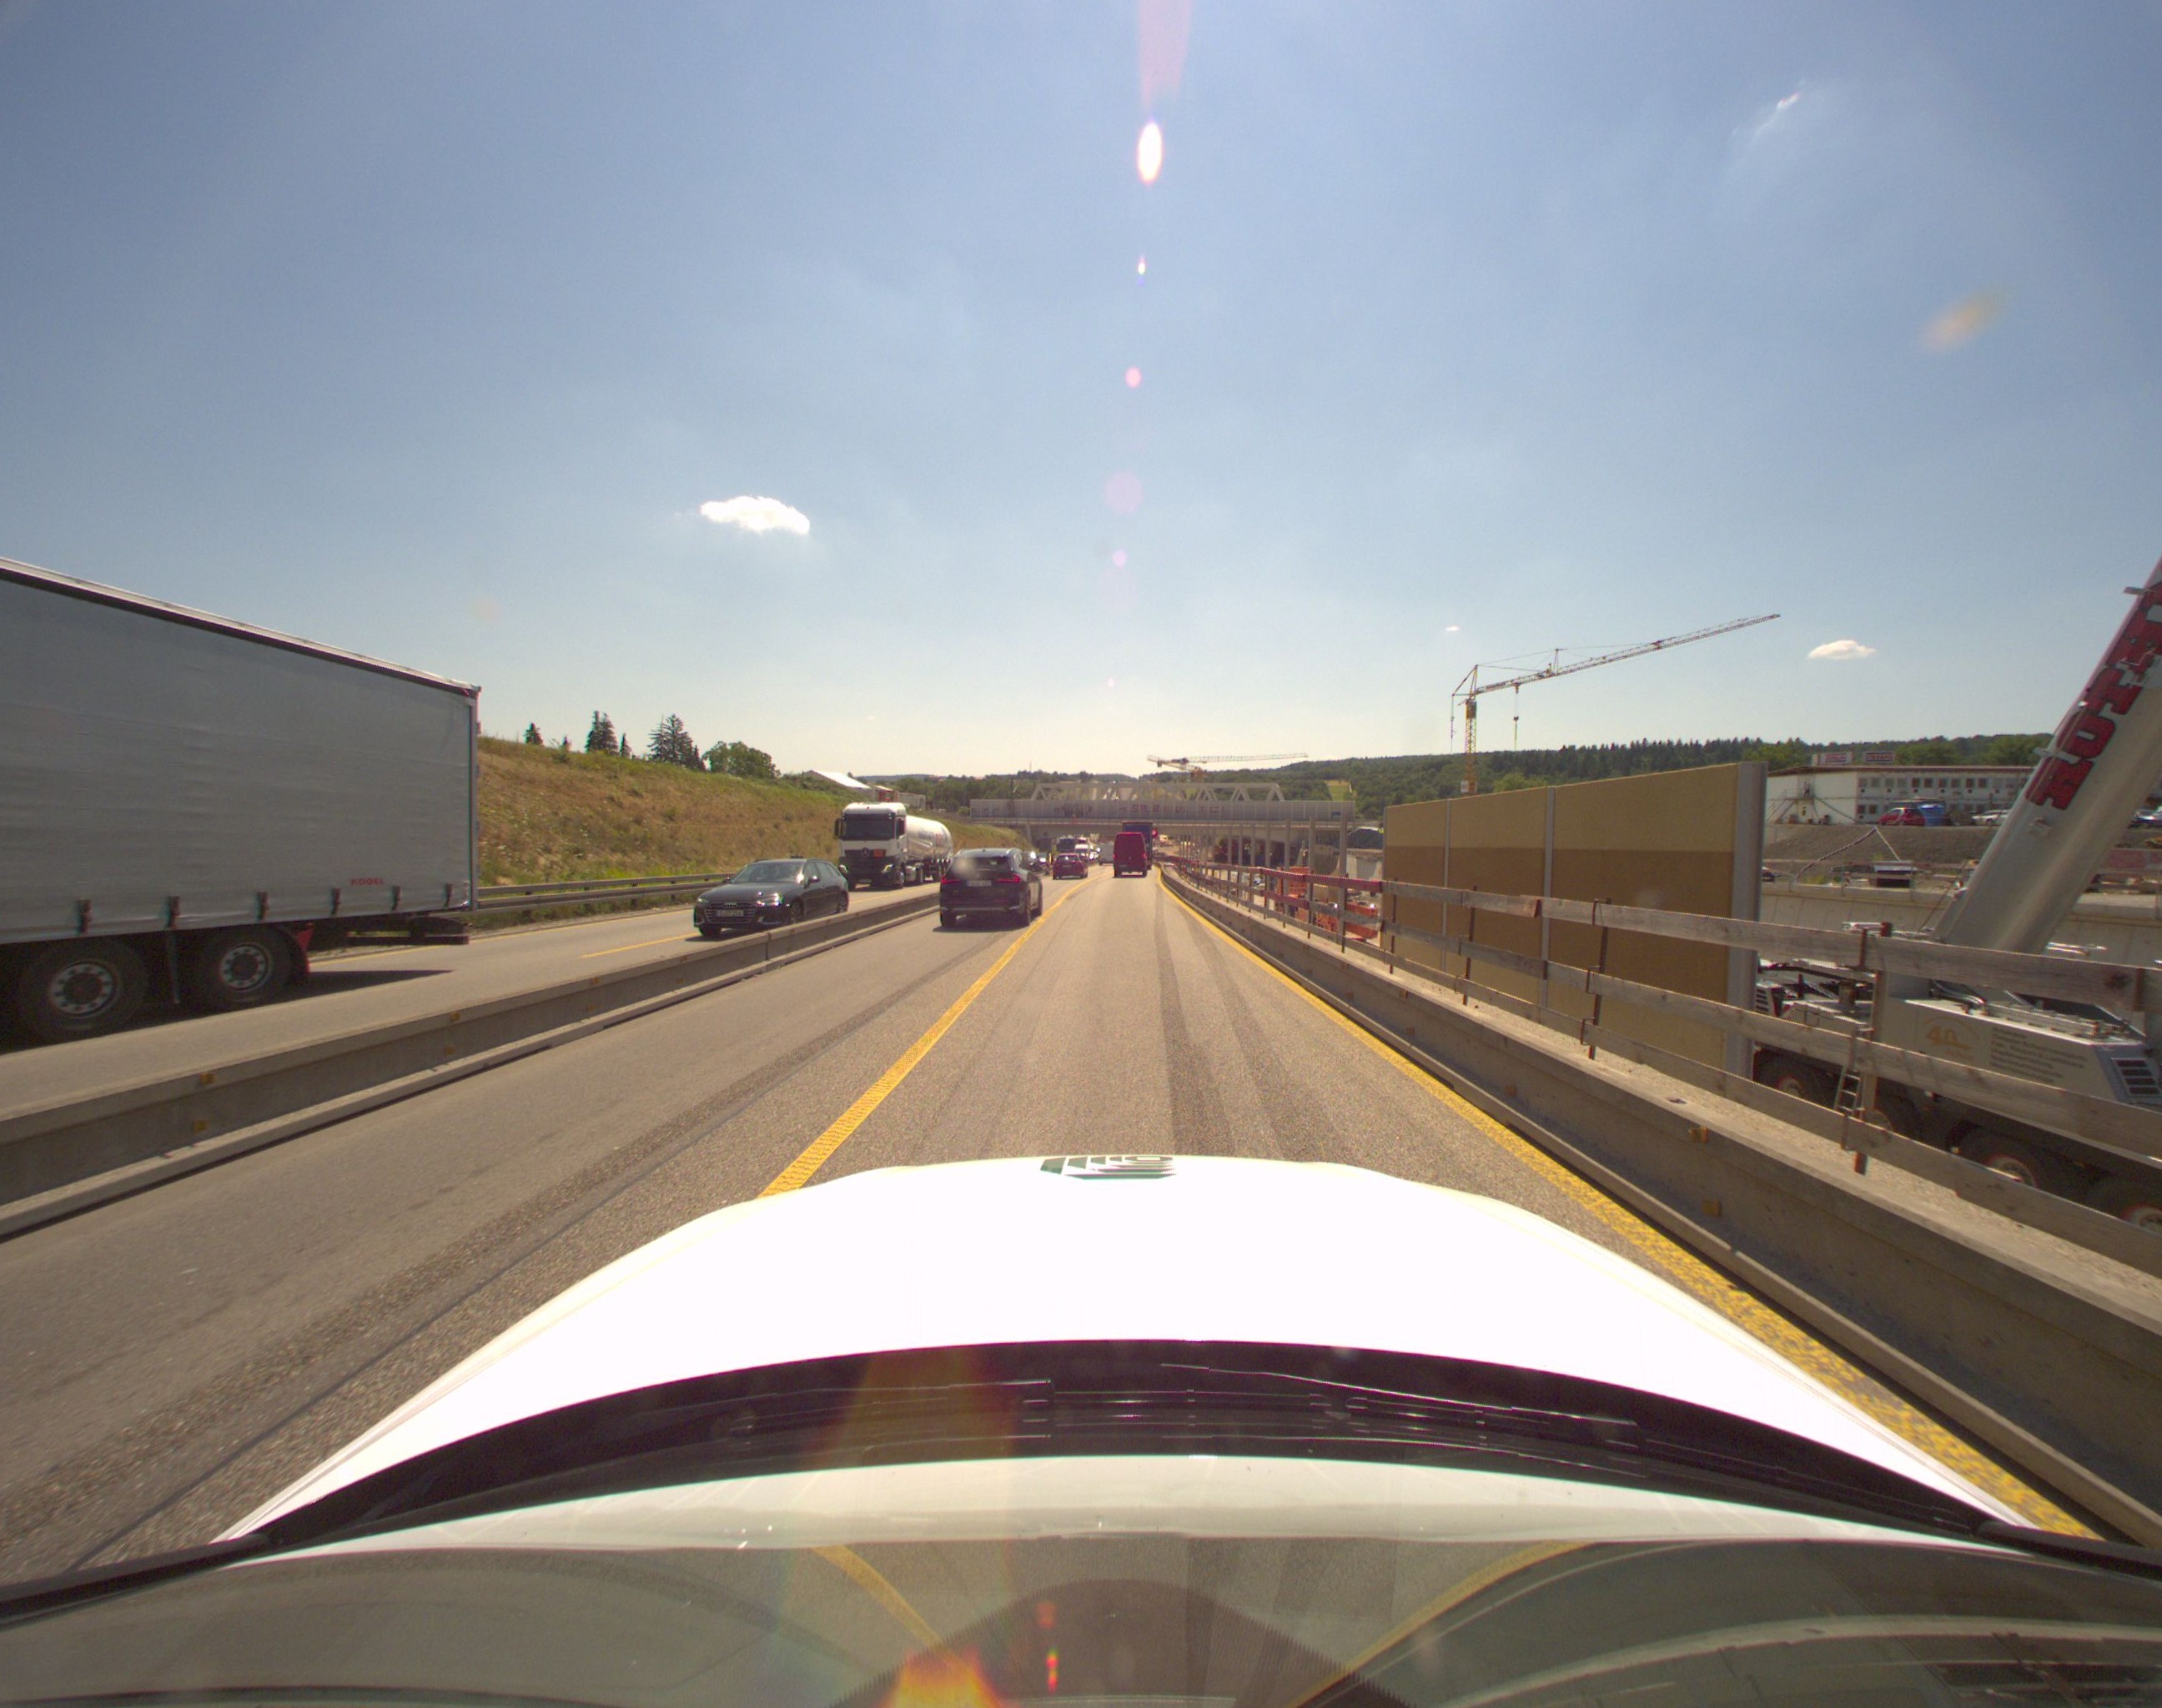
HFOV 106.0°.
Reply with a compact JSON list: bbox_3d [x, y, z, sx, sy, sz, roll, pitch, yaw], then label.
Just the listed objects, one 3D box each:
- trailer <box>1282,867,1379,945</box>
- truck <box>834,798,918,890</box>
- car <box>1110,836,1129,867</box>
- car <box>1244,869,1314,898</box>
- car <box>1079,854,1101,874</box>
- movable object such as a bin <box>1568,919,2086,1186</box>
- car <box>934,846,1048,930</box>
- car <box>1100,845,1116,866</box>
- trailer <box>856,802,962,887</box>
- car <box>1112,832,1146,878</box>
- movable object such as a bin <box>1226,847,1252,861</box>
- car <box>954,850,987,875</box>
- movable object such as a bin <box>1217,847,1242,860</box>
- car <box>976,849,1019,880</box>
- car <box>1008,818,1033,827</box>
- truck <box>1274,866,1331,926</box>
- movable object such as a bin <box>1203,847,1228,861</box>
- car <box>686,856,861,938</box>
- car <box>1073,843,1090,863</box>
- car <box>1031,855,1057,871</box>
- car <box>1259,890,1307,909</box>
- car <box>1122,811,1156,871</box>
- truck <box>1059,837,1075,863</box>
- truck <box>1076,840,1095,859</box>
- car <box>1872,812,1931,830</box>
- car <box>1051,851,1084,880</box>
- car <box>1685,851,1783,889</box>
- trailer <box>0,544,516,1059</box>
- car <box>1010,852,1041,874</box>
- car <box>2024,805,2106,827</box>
[{"bbox_3d":[15.002,2.876,50.187,2.746,3.886,13.061,0,0,3],"label":"trailer"},{"bbox_3d":[-8.811,-0.432,35.456,2.580,3.801,3.769,0,0,2],"label":"truck"},{"bbox_3d":[5.262,-0.336,112.347,2.441,4.161,6.863,-1,0,2],"label":"car"},{"bbox_3d":[19.381,2.899,79.816,6.083,2.584,2.524,1,2,-8],"label":"car"},{"bbox_3d":[0.849,0.848,71.520,1.833,1.654,4.166,-1,1,1],"label":"car"},{"bbox_3d":[14.801,3.570,17.741,2.955,3.487,9.153,2,0,1],"label":"movable object such as a bin"},{"bbox_3d":[-1.865,0.645,18.271,1.872,1.618,4.501,-1,0,2],"label":"car"},{"bbox_3d":[3.202,0.164,95.312,1.769,2.441,4.208,-1,0,2],"label":"car"},{"bbox_3d":[-8.596,-0.461,42.414,2.580,3.801,11.923,0,0,2],"label":"trailer"},{"bbox_3d":[3.013,0.021,50.252,1.979,2.690,4.629,-1,0,4],"label":"car"},{"bbox_3d":[31.624,0.002,163.198,5.118,2.807,2.147,0,0,7],"label":"movable object such as a bin"},{"bbox_3d":[-8.365,0.626,62.050,1.784,1.762,4.538,-1,0,1],"label":"car"},{"bbox_3d":[30.879,-0.087,169.759,5.118,2.807,2.147,0,0,7],"label":"movable object such as a bin"},{"bbox_3d":[-4.906,0.571,48.472,1.872,1.745,4.486,-1,0,3],"label":"car"},{"bbox_3d":[-11.829,-6.110,158.636,4.519,1.783,1.968,0,0,15],"label":"car"},{"bbox_3d":[15.453,2.824,57.242,2.747,3.886,5.887,0,0,3],"label":"truck"},{"bbox_3d":[28.874,-0.011,175.007,5.118,2.807,2.147,0,0,7],"label":"movable object such as a bin"},{"bbox_3d":[-6.160,0.783,16.993,1.773,1.458,4.721,0,0,1],"label":"car"},{"bbox_3d":[0.092,-0.159,110.552,1.985,2.606,7.015,0,0,2],"label":"car"},{"bbox_3d":[-3.453,0.808,76.342,1.953,1.464,4.944,0,0,3],"label":"car"},{"bbox_3d":[21.532,4.846,86.908,4.708,1.773,2.002,1,2,3],"label":"car"},{"bbox_3d":[5.166,-1.124,74.417,2.611,5.032,10.401,-1,0,2],"label":"car"},{"bbox_3d":[-2.129,-0.618,124.324,2.350,4.015,4.000,0,0,0],"label":"truck"},{"bbox_3d":[0.994,-0.908,168.654,2.821,3.852,12.933,0,0,6],"label":"truck"},{"bbox_3d":[66.426,-2.632,66.002,1.508,1.316,3.433,0,0,4],"label":"car"},{"bbox_3d":[-0.749,0.632,46.996,1.770,1.517,4.206,-1,0,0],"label":"car"},{"bbox_3d":[37.141,0.850,46.502,1.800,2.013,4.825,0,0,0],"label":"car"},{"bbox_3d":[-9.831,-0.402,5.115,2.688,4.024,13.707,0,0,2],"label":"trailer"},{"bbox_3d":[-4.261,0.678,63.055,1.783,1.611,4.737,0,0,3],"label":"car"},{"bbox_3d":[76.577,-2.936,63.465,1.673,1.517,4.079,0,0,4],"label":"car"}]
